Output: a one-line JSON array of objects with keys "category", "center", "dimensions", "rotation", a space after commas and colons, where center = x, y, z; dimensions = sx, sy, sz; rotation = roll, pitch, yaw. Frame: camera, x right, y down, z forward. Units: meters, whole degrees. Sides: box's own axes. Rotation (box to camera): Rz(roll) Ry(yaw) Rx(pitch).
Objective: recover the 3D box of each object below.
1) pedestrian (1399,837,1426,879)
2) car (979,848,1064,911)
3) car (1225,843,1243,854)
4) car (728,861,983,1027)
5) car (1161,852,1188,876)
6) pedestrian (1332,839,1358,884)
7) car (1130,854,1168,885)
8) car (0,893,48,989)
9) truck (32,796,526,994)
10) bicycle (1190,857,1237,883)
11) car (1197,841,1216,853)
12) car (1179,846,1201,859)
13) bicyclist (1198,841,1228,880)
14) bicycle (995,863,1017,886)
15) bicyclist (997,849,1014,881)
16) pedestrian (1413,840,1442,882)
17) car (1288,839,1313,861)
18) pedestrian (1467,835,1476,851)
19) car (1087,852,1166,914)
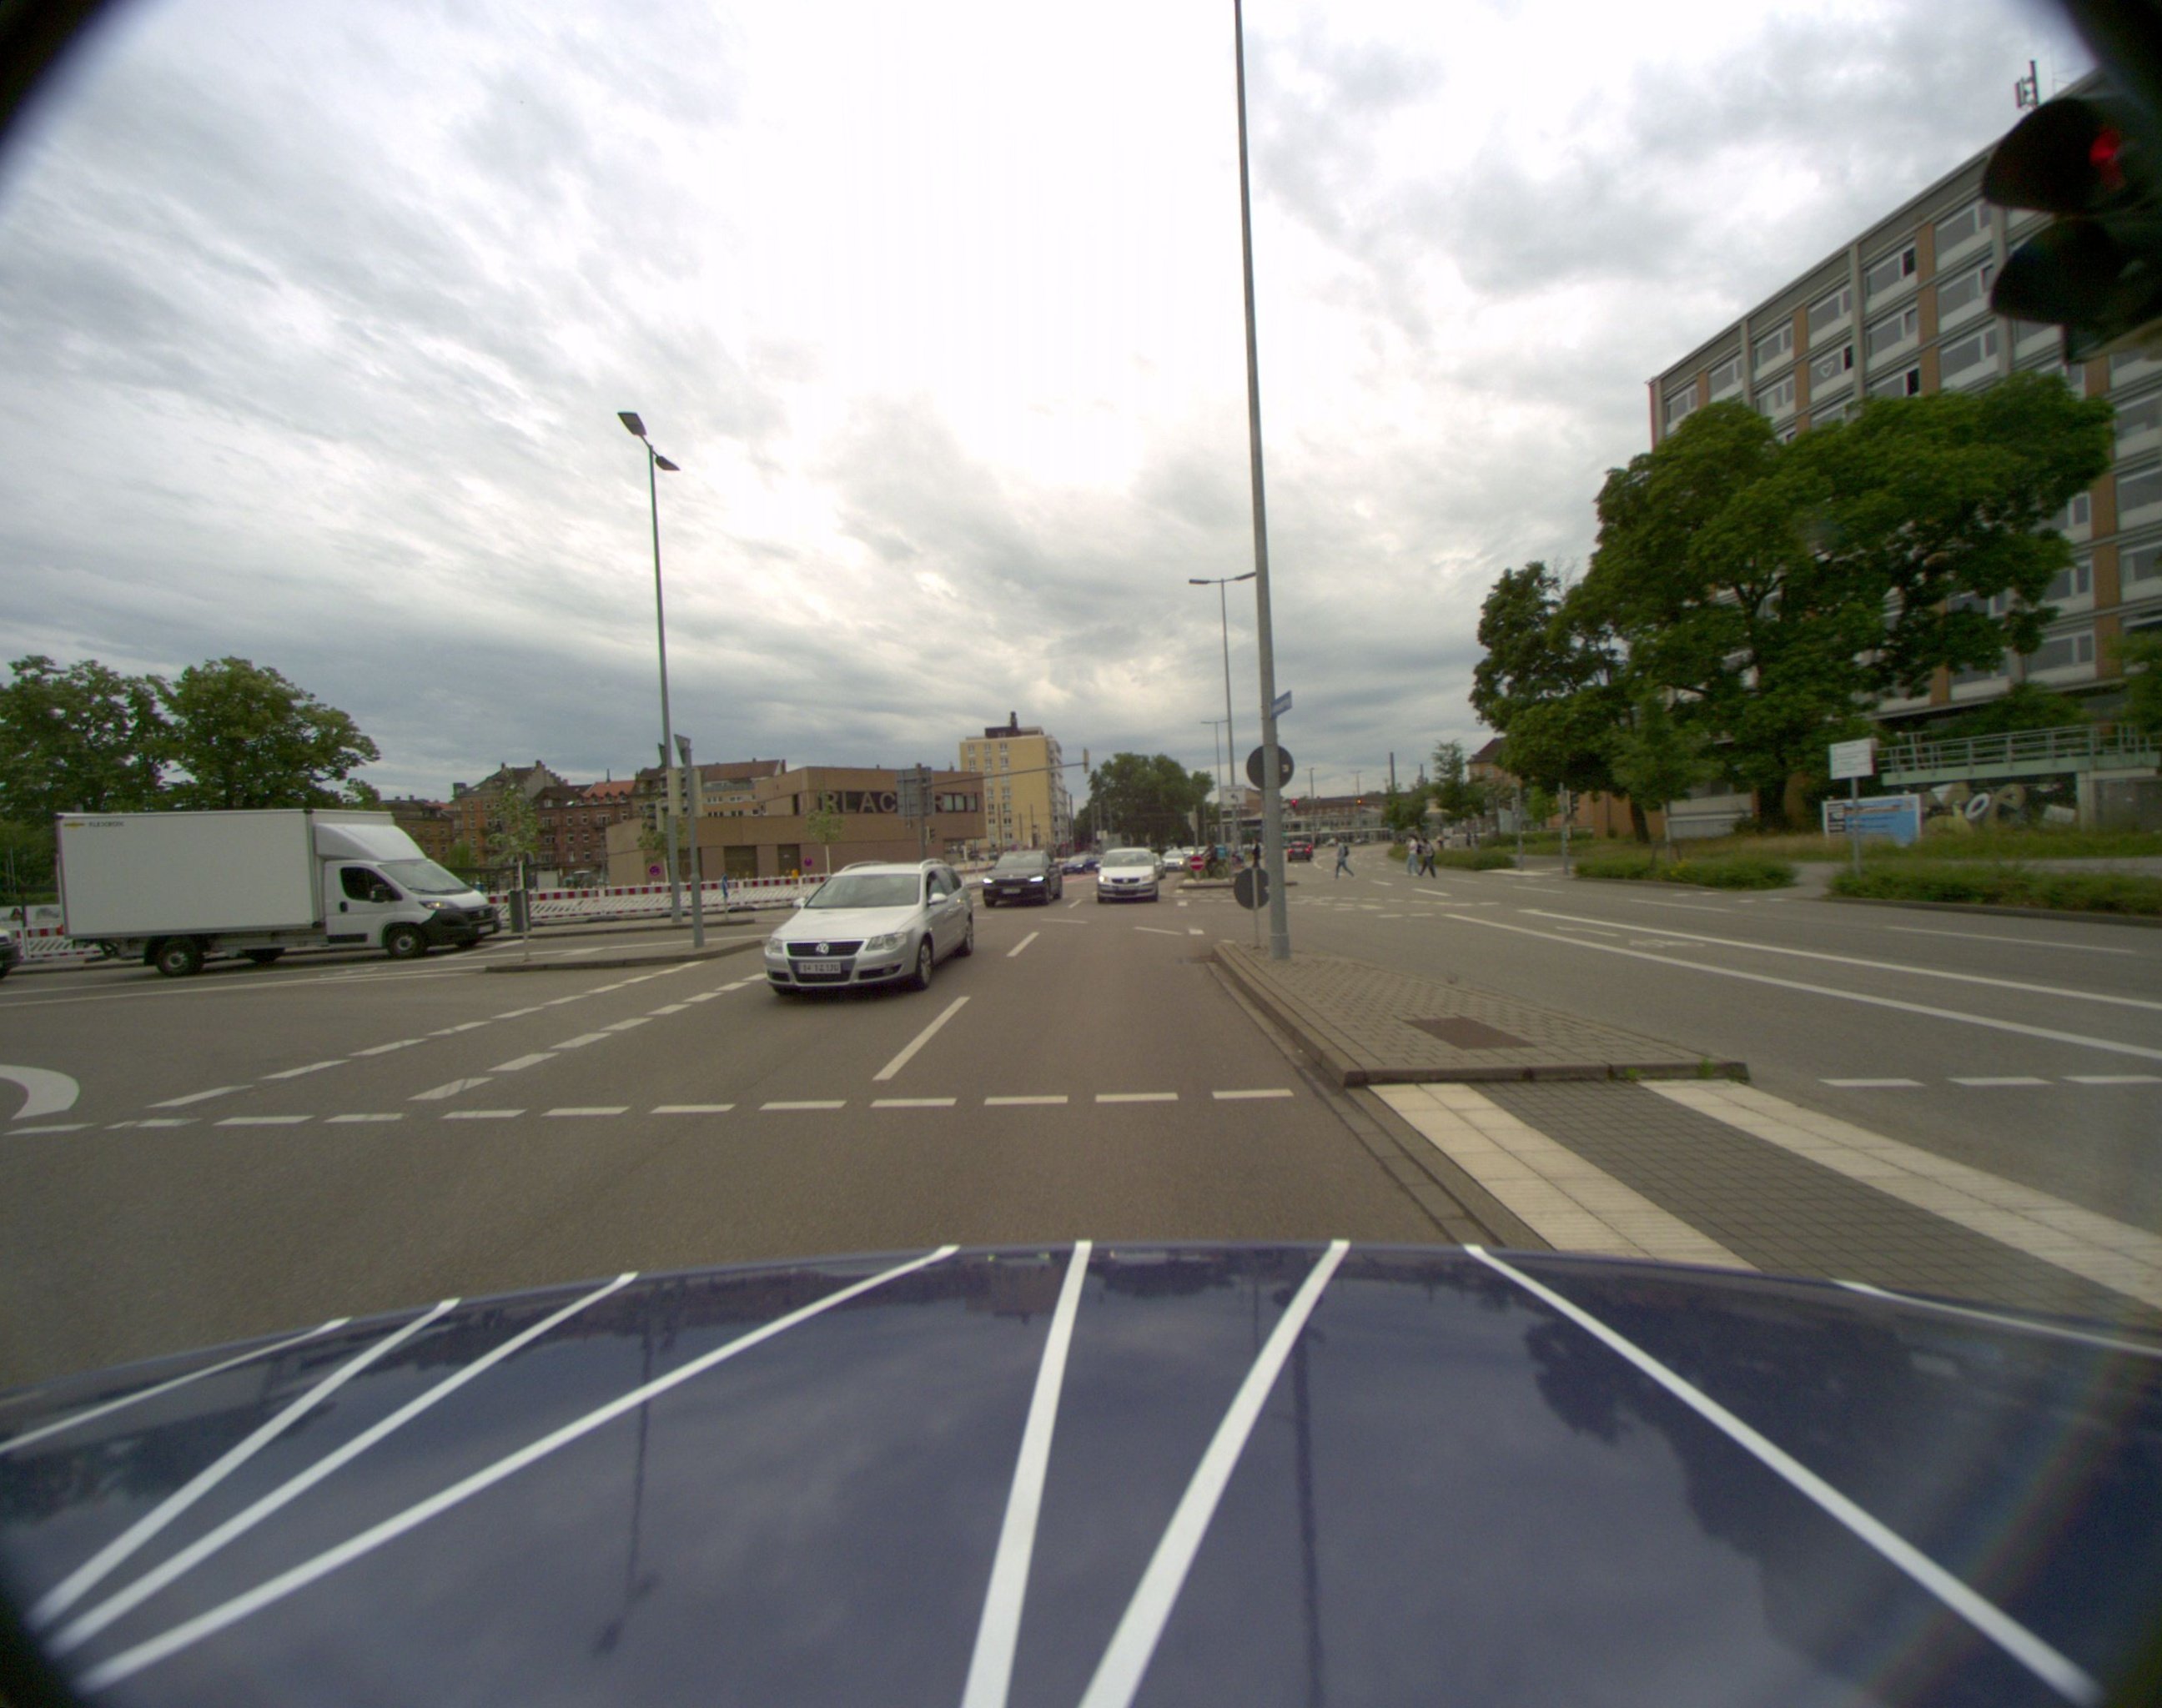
[{"category": "pedestrian", "center": [14.670, 0.168, 33.589], "dimensions": [0.769, 1.794, 0.739], "rotation": [-2, 1, -26]}, {"category": "car", "center": [-1.698, 0.692, 23.254], "dimensions": [1.911, 1.615, 4.491], "rotation": [-3, 1, 4]}, {"category": "car", "center": [23.298, -0.913, 115.569], "dimensions": [1.606, 1.586, 3.765], "rotation": [-1, 0, 27]}, {"category": "car", "center": [-2.637, 0.963, 10.141], "dimensions": [1.829, 1.541, 4.527], "rotation": [-3, 1, 2]}, {"category": "car", "center": [6.863, 0.714, 55.520], "dimensions": [1.785, 1.455, 3.873], "rotation": [-4, 1, 9]}, {"category": "pedestrian", "center": [10.790, 0.306, 31.097], "dimensions": [0.918, 1.794, 0.541], "rotation": [-2, 1, 12]}, {"category": "car", "center": [3.707, 0.810, 40.885], "dimensions": [1.725, 1.406, 4.247], "rotation": [-4, 0, 7]}, {"category": "car", "center": [-24.514, 1.952, 15.065], "dimensions": [4.714, 1.909, 1.918], "rotation": [-4, 2, -8]}, {"category": "truck", "center": [-16.548, 0.702, 16.261], "dimensions": [6.854, 3.393, 2.558], "rotation": [-4, 3, -9]}, {"category": "bicycle", "center": [6.130, 0.722, 35.178], "dimensions": [2.005, 1.136, 0.806], "rotation": [-2, 1, -2]}, {"category": "car", "center": [16.418, -0.924, 99.226], "dimensions": [1.802, 1.586, 3.764], "rotation": [-2, 0, 21]}, {"category": "car", "center": [13.063, -0.217, 90.607], "dimensions": [1.817, 1.466, 4.038], "rotation": [-2, 0, 19]}, {"category": "bicyclist", "center": [6.115, 0.302, 35.159], "dimensions": [1.192, 1.725, 0.806], "rotation": [-2, 1, -2]}, {"category": "bicycle", "center": [-3.967, 1.074, 40.137], "dimensions": [0.693, 1.123, 1.869], "rotation": [-2, 0, 8]}, {"category": "bicyclist", "center": [-3.985, 0.579, 40.090], "dimensions": [0.693, 1.626, 0.885], "rotation": [-2, 1, 8]}, {"category": "pedestrian", "center": [14.275, 0.289, 31.341], "dimensions": [0.778, 1.657, 0.706], "rotation": [-2, 1, -12]}, {"category": "car", "center": [18.390, -0.362, 63.669], "dimensions": [1.813, 1.658, 3.953], "rotation": [-2, 2, 18]}, {"category": "pedestrian", "center": [40.474, -1.146, 78.793], "dimensions": [0.653, 1.611, 0.471], "rotation": [-2, 1, 4]}, {"category": "car", "center": [1.305, 0.798, 23.398], "dimensions": [1.734, 1.594, 4.103], "rotation": [-4, 1, -5]}]
